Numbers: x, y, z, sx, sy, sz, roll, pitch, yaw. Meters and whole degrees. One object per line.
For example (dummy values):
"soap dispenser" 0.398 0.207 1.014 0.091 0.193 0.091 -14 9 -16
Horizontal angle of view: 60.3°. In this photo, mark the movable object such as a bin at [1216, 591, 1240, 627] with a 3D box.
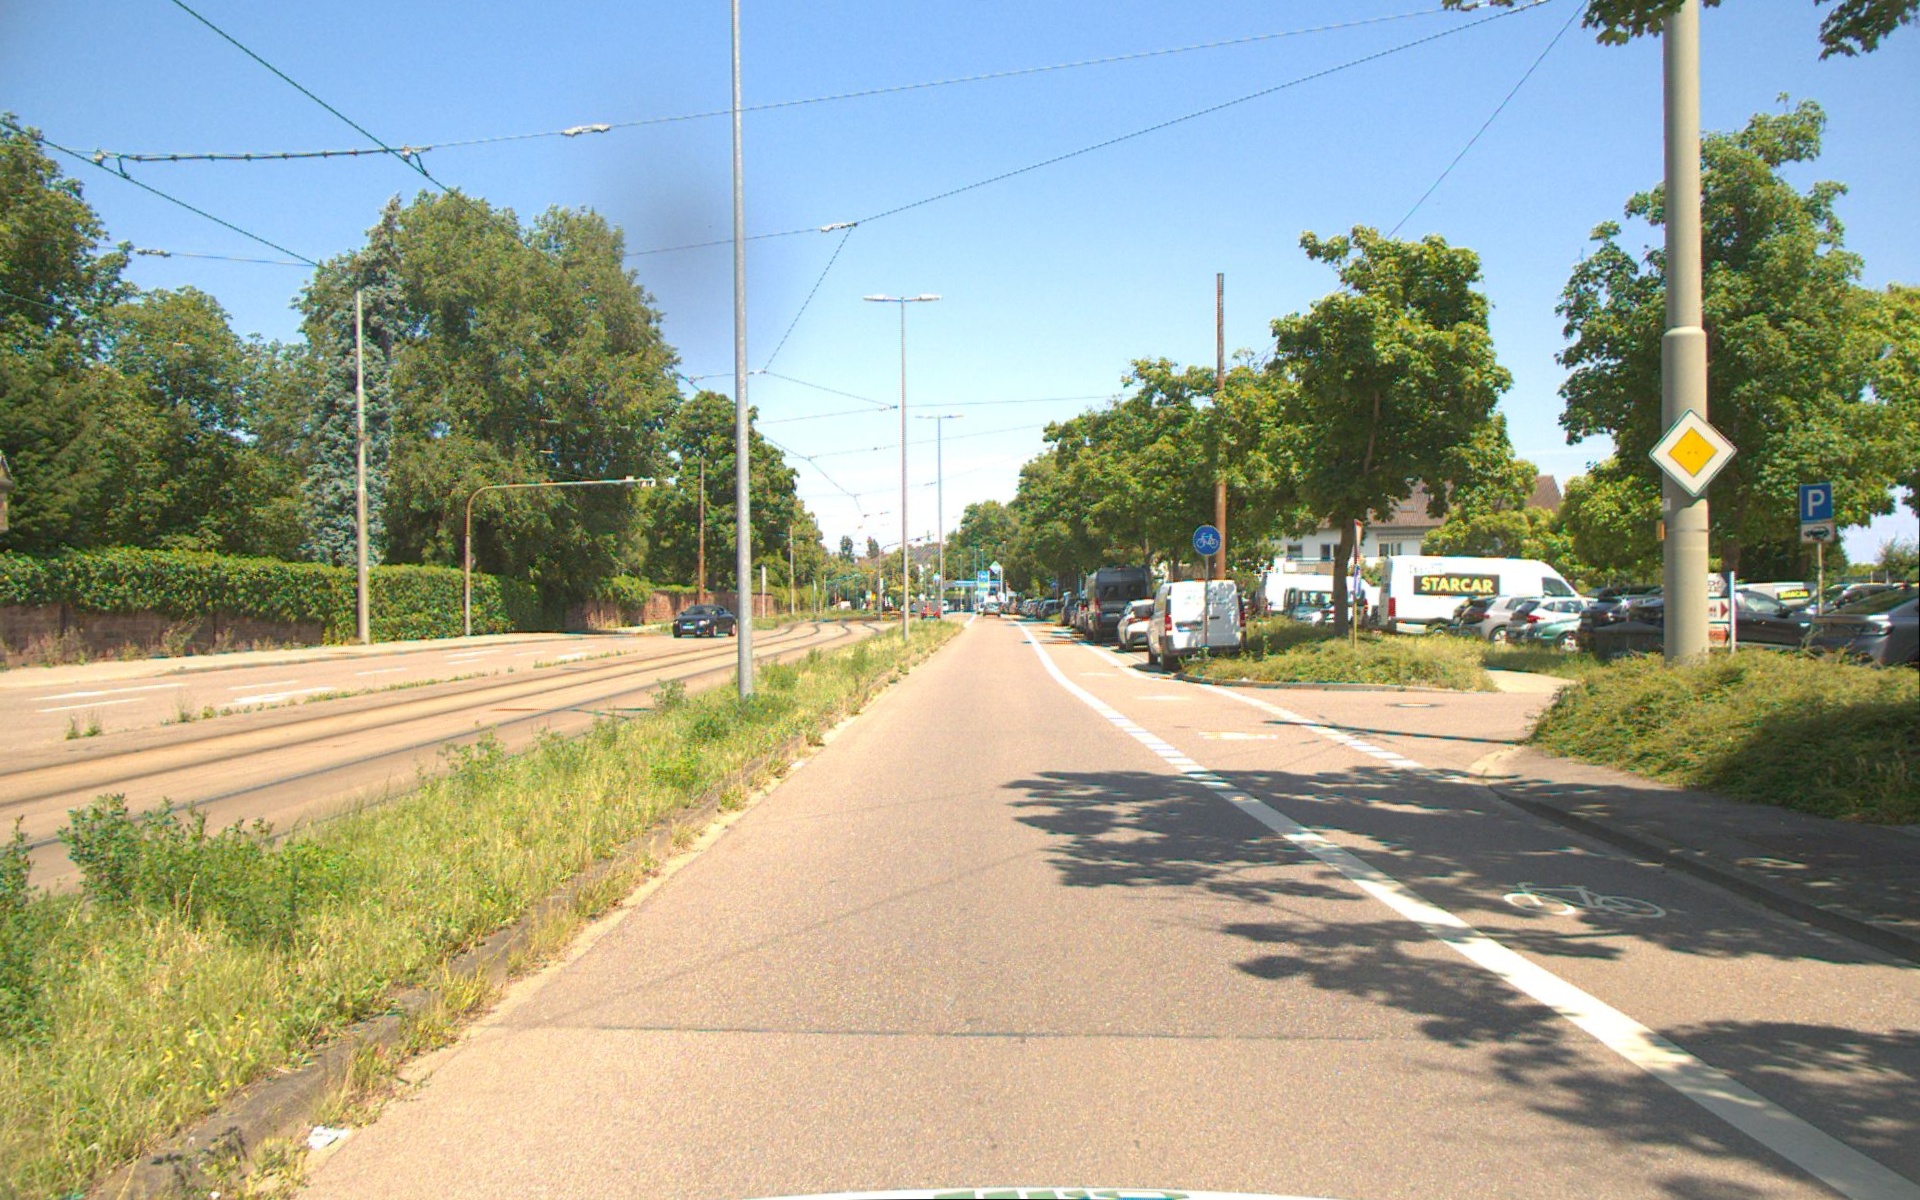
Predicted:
"movable object such as a bin" 10.410 0.333 64.235 0.776 1.376 0.889 0 0 1

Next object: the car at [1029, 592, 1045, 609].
"car" 7.860 0.048 168.531 1.488 1.556 3.817 -3 0 1

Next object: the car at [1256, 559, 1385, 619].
"car" 16.273 -0.481 74.891 5.376 2.502 2.095 2 0 2

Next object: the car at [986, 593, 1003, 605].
"car" 4.991 -0.108 238.669 1.723 1.659 4.316 -3 0 -8

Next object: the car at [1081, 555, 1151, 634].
"car" 5.708 -0.210 61.137 1.957 2.682 6.079 -3 0 1

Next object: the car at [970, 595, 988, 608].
"car" 2.407 0.183 213.550 1.722 1.659 4.317 -3 0 -7

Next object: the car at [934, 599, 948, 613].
"car" -3.054 0.938 261.668 1.954 2.049 3.997 2 -1 -4

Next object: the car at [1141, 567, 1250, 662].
"car" 5.338 0.289 38.112 1.840 1.950 5.125 -3 0 2

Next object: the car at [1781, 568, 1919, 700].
"car" 13.241 0.409 21.647 4.056 1.639 1.943 0 0 -2

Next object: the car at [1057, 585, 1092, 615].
"car" 6.715 0.027 97.371 1.677 1.661 4.708 -3 -1 1

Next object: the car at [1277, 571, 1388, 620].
"car" 16.160 -0.201 71.897 4.319 1.942 1.953 2 0 -4

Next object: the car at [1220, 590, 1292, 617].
"car" 16.701 0.200 93.515 3.780 1.381 1.770 2 0 2

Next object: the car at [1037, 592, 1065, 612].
"car" 7.065 0.162 129.011 1.803 1.461 4.823 -3 0 -1

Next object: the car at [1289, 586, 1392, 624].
"car" 15.845 0.197 68.993 3.809 1.430 1.726 2 0 -4

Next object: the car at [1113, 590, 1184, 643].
"car" 5.651 0.480 49.865 1.687 1.453 4.210 -3 0 1

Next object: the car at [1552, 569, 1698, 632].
"car" 28.661 0.023 71.408 5.377 2.502 2.095 -2 0 1

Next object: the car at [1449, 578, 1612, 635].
"car" 15.434 0.183 44.853 3.810 1.404 1.726 2 0 -5

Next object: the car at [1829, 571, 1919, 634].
"car" 29.366 0.024 49.976 5.047 1.783 2.095 -2 0 1

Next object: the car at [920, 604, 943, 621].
"car" -2.460 1.052 142.307 1.671 1.438 4.283 0 0 3

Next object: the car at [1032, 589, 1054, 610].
"car" 7.365 -0.062 146.614 1.802 1.736 4.627 -3 0 2

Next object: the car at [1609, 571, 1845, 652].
"car" 15.974 0.229 34.571 4.113 1.516 1.678 2 0 0

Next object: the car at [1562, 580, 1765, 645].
"car" 15.738 0.278 37.120 3.807 1.303 1.728 2 0 0

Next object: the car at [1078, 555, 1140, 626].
"car" 6.059 -0.404 68.070 1.957 2.682 6.143 -3 0 1

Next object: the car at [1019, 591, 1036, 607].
"car" 7.968 -0.106 194.705 1.803 1.723 4.779 -3 0 1

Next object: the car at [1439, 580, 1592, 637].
"car" 15.939 0.238 47.580 3.807 1.498 1.727 2 0 -2

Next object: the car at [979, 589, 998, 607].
"car" 2.937 -0.207 167.548 1.719 1.659 4.325 -3 0 2

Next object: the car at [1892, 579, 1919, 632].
"car" 29.233 0.087 47.288 4.221 1.461 1.633 -2 0 1

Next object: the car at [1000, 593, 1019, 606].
"car" 6.668 -0.079 222.759 1.675 1.589 4.315 -3 0 -8

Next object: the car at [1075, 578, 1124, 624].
"car" 6.264 0.003 74.770 1.956 1.911 5.278 -3 0 3

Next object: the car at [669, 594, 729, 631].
"car" -11.002 0.488 69.945 1.719 1.474 4.124 1 0 2

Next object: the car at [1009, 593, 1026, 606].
"car" 7.382 -0.064 211.570 1.673 1.518 5.035 -3 0 -3

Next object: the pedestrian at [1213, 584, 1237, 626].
"pedestrian" 10.430 0.196 65.155 0.788 1.653 0.943 0 0 1

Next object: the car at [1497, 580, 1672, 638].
"car" 15.960 0.221 42.386 3.807 1.348 1.728 2 0 0

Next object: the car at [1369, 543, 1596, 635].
"car" 15.850 -0.330 50.479 6.208 2.573 2.264 2 0 4

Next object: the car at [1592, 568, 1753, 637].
"car" 28.135 0.079 65.446 5.377 2.502 2.095 -2 0 1

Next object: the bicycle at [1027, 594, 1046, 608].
"bicycle" 7.682 0.118 166.494 1.737 1.249 0.684 -5 -1 5

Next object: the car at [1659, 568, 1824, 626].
"car" 28.442 -0.103 60.321 4.991 1.909 2.095 -2 0 1

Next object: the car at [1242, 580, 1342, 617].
"car" 16.604 -0.086 82.839 4.595 1.673 1.955 2 0 2

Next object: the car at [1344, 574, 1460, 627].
"car" 16.253 0.020 60.933 3.704 1.815 1.953 2 0 -4

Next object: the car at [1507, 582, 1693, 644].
"car" 15.411 0.302 39.960 3.807 1.348 1.728 2 0 0

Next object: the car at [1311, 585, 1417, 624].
"car" 16.249 0.190 66.666 3.807 1.430 1.727 2 0 -2

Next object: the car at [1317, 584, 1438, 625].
"car" 16.086 0.181 63.809 4.190 1.430 1.727 2 0 -2

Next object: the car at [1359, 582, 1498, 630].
"car" 16.483 0.209 58.338 4.317 1.532 1.953 2 0 -2

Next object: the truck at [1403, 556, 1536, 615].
"truck" 29.230 -0.822 95.085 6.804 3.139 2.424 -2 0 0
